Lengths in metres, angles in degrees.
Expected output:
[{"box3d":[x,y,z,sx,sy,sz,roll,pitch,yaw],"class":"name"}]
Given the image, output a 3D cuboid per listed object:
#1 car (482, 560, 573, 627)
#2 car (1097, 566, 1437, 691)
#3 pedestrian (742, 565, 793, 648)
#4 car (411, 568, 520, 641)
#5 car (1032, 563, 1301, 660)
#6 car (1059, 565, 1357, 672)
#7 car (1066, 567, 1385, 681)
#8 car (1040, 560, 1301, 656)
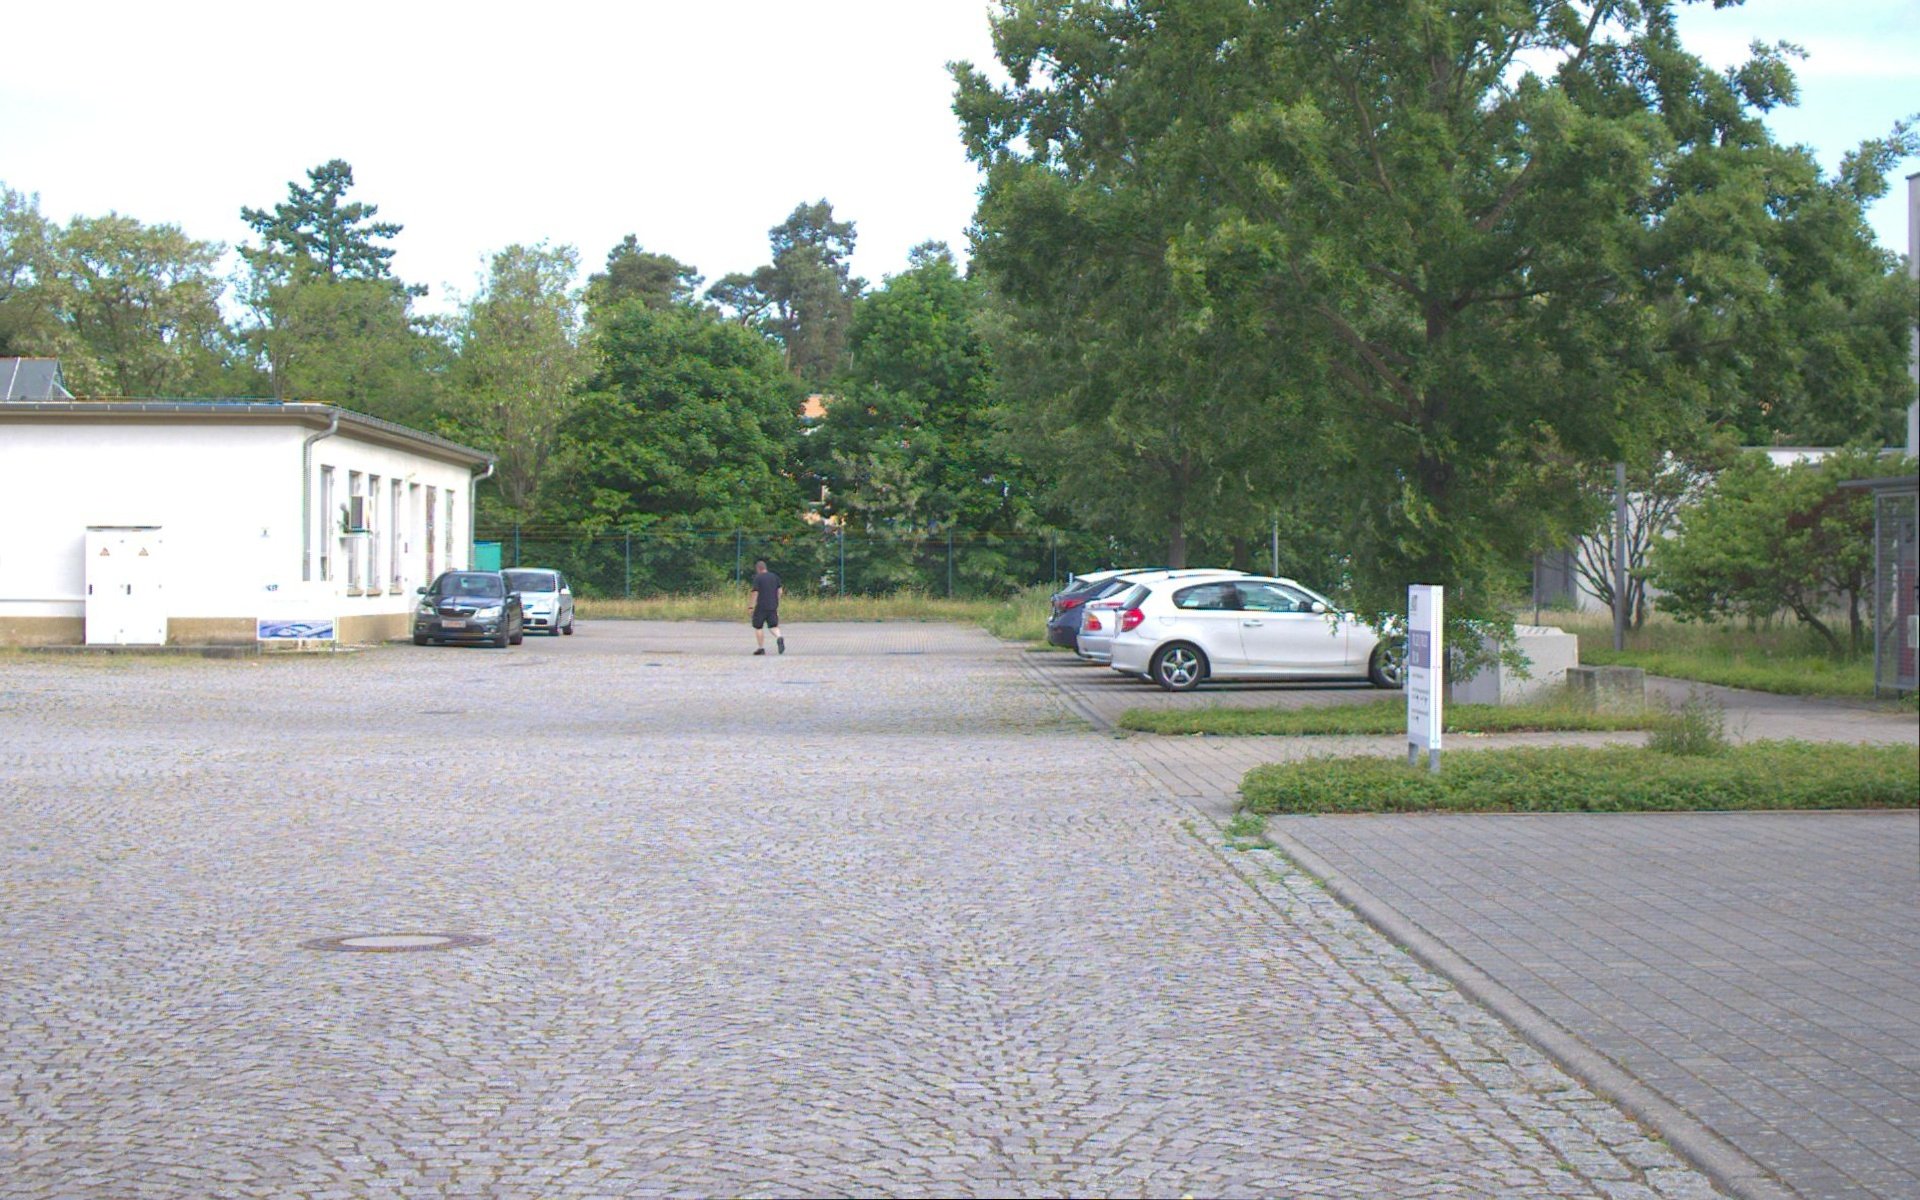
[{"box3d":[-9.595,-0.151,76.551,1.748,1.449,4.001,0,0,-3],"class":"car"},{"box3d":[3.750,0.350,42.507,3.987,1.450,2.000,1,0,-1],"class":"car"},{"box3d":[-3.615,0.118,64.649,0.940,1.563,0.971,0,0,-2],"class":"pedestrian"},{"box3d":[-9.502,0.076,66.320,1.748,1.359,4.001,0,0,-3],"class":"car"},{"box3d":[3.124,0.169,52.613,3.987,1.450,1.770,0,0,-1],"class":"car"},{"box3d":[3.404,0.242,47.712,3.987,1.450,1.770,0,0,-1],"class":"car"},{"box3d":[3.410,0.298,44.672,3.987,1.450,1.697,0,0,-1],"class":"car"},{"box3d":[3.383,0.121,55.831,3.986,1.528,2.000,0,0,-5],"class":"car"}]
